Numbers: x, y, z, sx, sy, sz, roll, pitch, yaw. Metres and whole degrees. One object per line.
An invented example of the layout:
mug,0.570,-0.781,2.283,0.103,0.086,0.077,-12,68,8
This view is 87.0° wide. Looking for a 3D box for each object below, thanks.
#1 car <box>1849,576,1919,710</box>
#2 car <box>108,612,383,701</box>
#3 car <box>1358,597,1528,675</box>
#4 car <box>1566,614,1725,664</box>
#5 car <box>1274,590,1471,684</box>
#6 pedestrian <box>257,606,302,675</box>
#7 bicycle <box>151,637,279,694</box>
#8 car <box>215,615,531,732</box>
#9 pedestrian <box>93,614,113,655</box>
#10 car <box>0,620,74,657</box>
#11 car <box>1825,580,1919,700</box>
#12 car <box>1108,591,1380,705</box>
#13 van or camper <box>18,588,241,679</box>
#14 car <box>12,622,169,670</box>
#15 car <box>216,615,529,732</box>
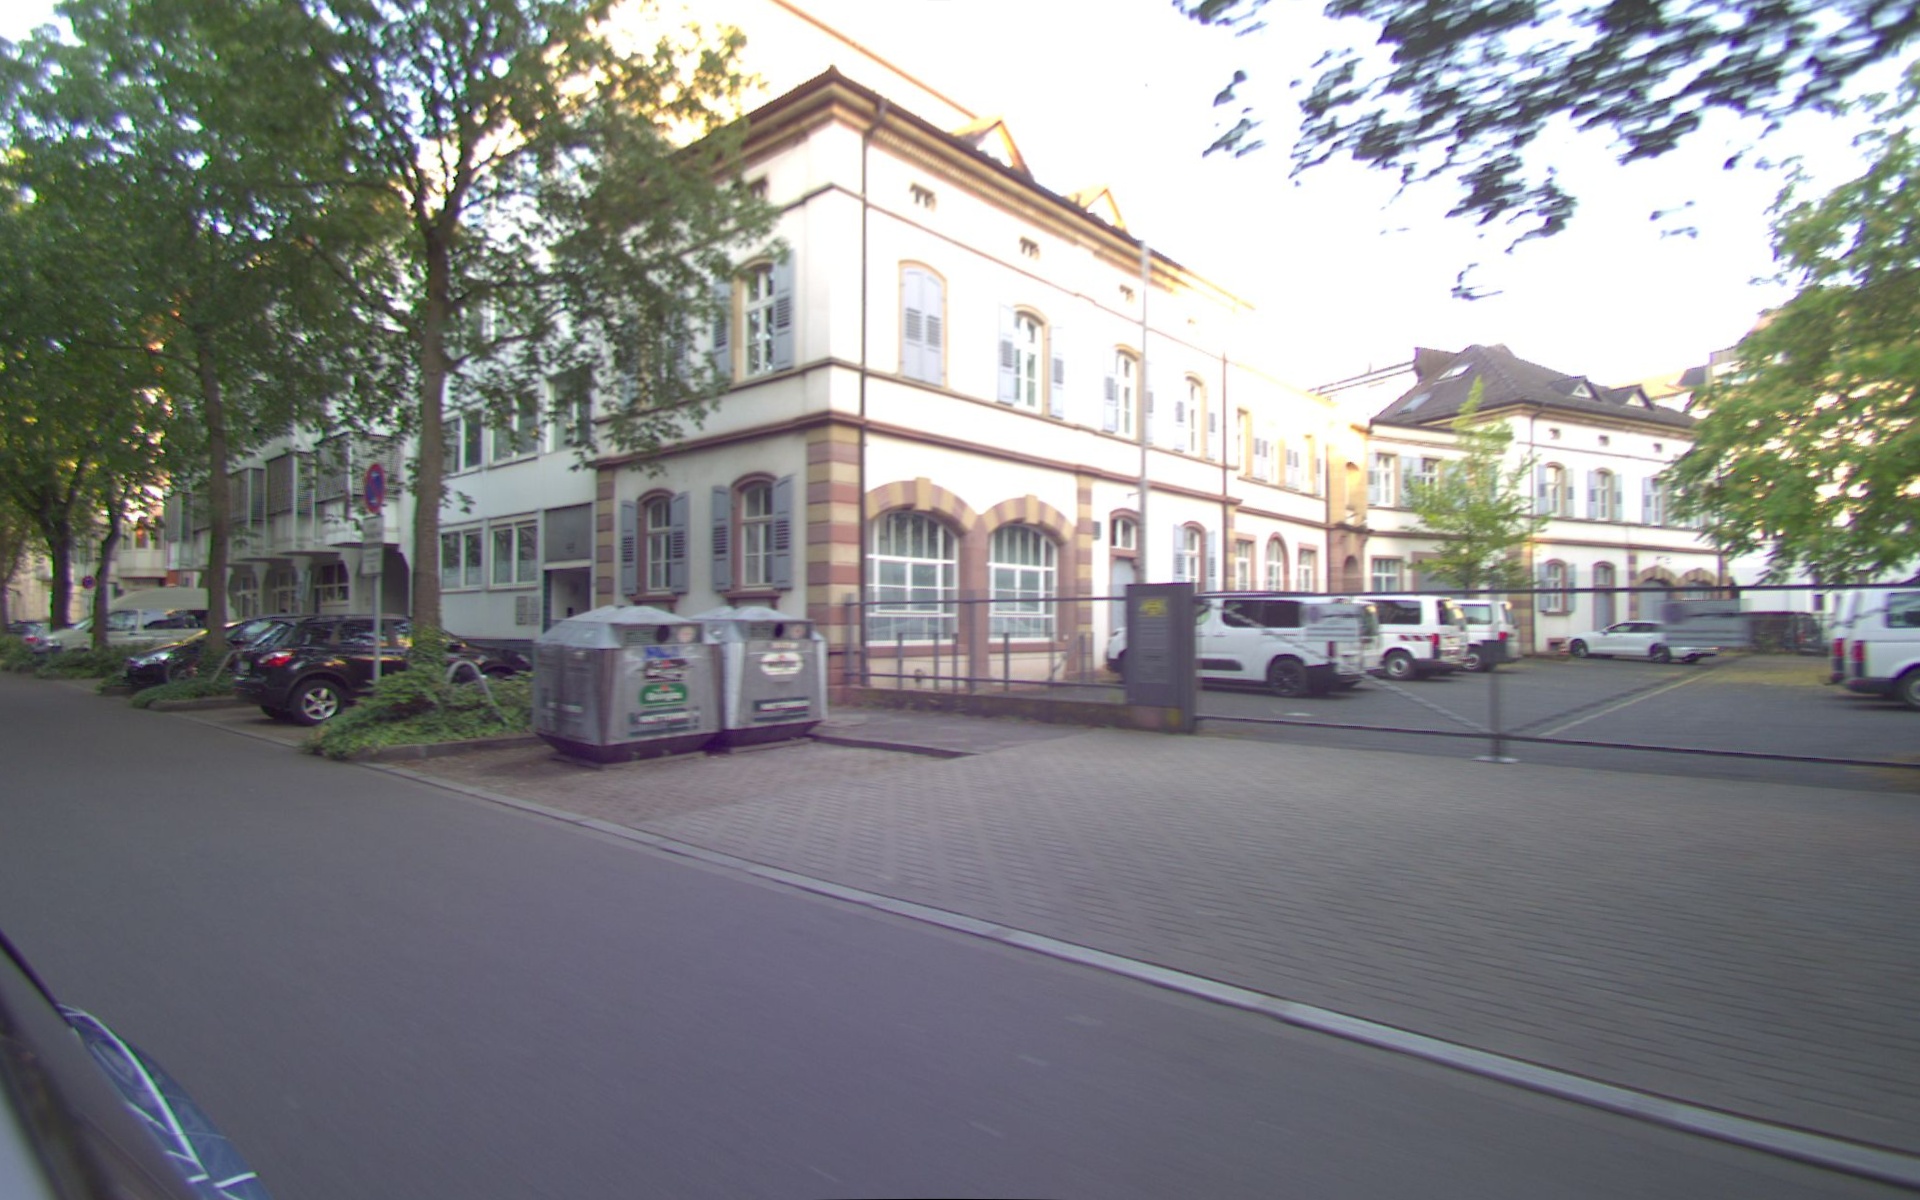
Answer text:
car,15.820,0.580,14.589,4.413,1.971,1.763,-3,-3,41
car,-15.027,1.158,21.527,1.619,1.695,4.492,-1,-3,37
car,13.481,0.994,28.365,3.998,2.029,1.666,-1,-2,41
car,24.080,1.355,35.711,1.745,1.649,4.322,1,-2,-27
car,9.662,0.852,23.877,3.998,2.029,1.666,-1,-2,41
pedestrian,-20.284,1.203,30.161,0.839,2.029,0.930,-2,-2,45
bicycle,-14.088,1.221,19.188,0.479,1.033,1.882,-2,-3,40
car,-9.151,1.058,16.030,1.826,1.600,3.948,-1,-2,39
pedestrian,-36.878,1.483,43.552,0.628,1.758,0.680,1,-2,-40
car,-46.086,1.856,49.078,1.789,1.772,4.420,-1,-3,38
car,17.397,0.641,16.886,4.413,2.010,1.763,-3,-3,41
car,5.082,0.774,18.476,4.461,1.820,1.763,1,0,41
van or camper,-24.172,0.978,29.615,1.944,2.446,4.766,-2,-3,41
car,-30.131,1.564,35.141,1.622,1.539,4.008,-2,-2,44
car,-9.160,1.052,16.027,1.788,1.604,3.946,-1,-1,41
